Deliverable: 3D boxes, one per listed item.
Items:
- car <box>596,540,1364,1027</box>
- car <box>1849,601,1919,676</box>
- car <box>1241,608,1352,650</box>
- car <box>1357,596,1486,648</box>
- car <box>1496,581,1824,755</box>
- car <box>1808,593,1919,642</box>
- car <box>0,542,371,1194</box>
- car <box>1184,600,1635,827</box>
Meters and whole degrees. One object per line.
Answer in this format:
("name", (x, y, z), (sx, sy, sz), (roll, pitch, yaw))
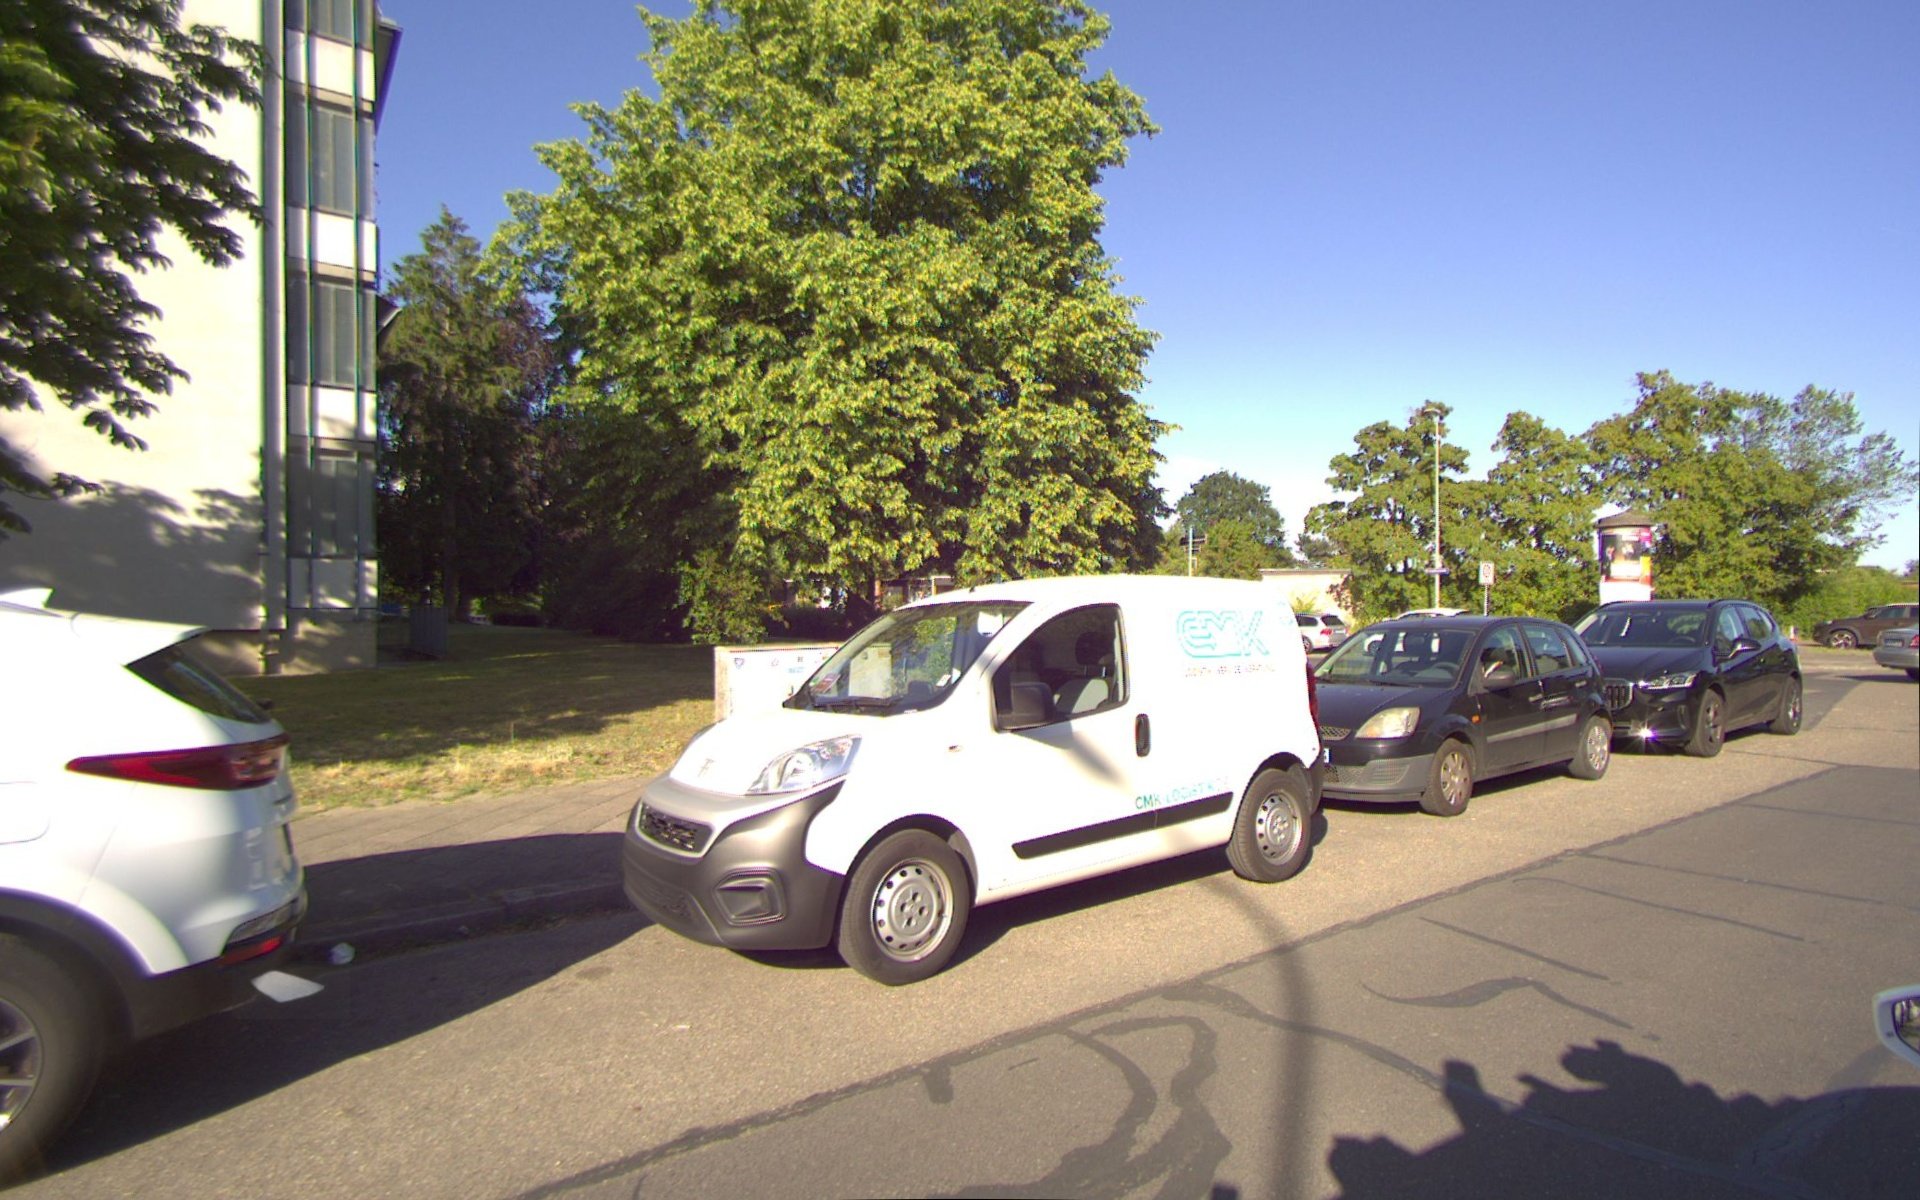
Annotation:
("car", (0.280, 0.675, 5.511), (3.966, 1.755, 1.735), (0, -1, -36))
("car", (20.640, 0.702, 19.750), (4.312, 1.455, 1.844), (-2, -1, 15))
("car", (12.012, 1.000, 36.018), (1.594, 1.379, 3.468), (0, 1, -40))
("car", (14.843, 0.664, 32.442), (1.594, 1.582, 3.468), (-1, 1, -40))
("car", (8.022, 0.650, 11.387), (4.265, 1.634, 1.735), (0, -1, -36))
("car", (31.382, 0.551, 33.860), (1.787, 1.582, 4.020), (0, 1, -40))
("car", (-4.070, 0.728, 2.462), (4.340, 1.692, 1.733), (0, -1, -39))
("car", (3.995, 0.790, 8.682), (4.112, 1.498, 1.735), (0, -1, -36))
